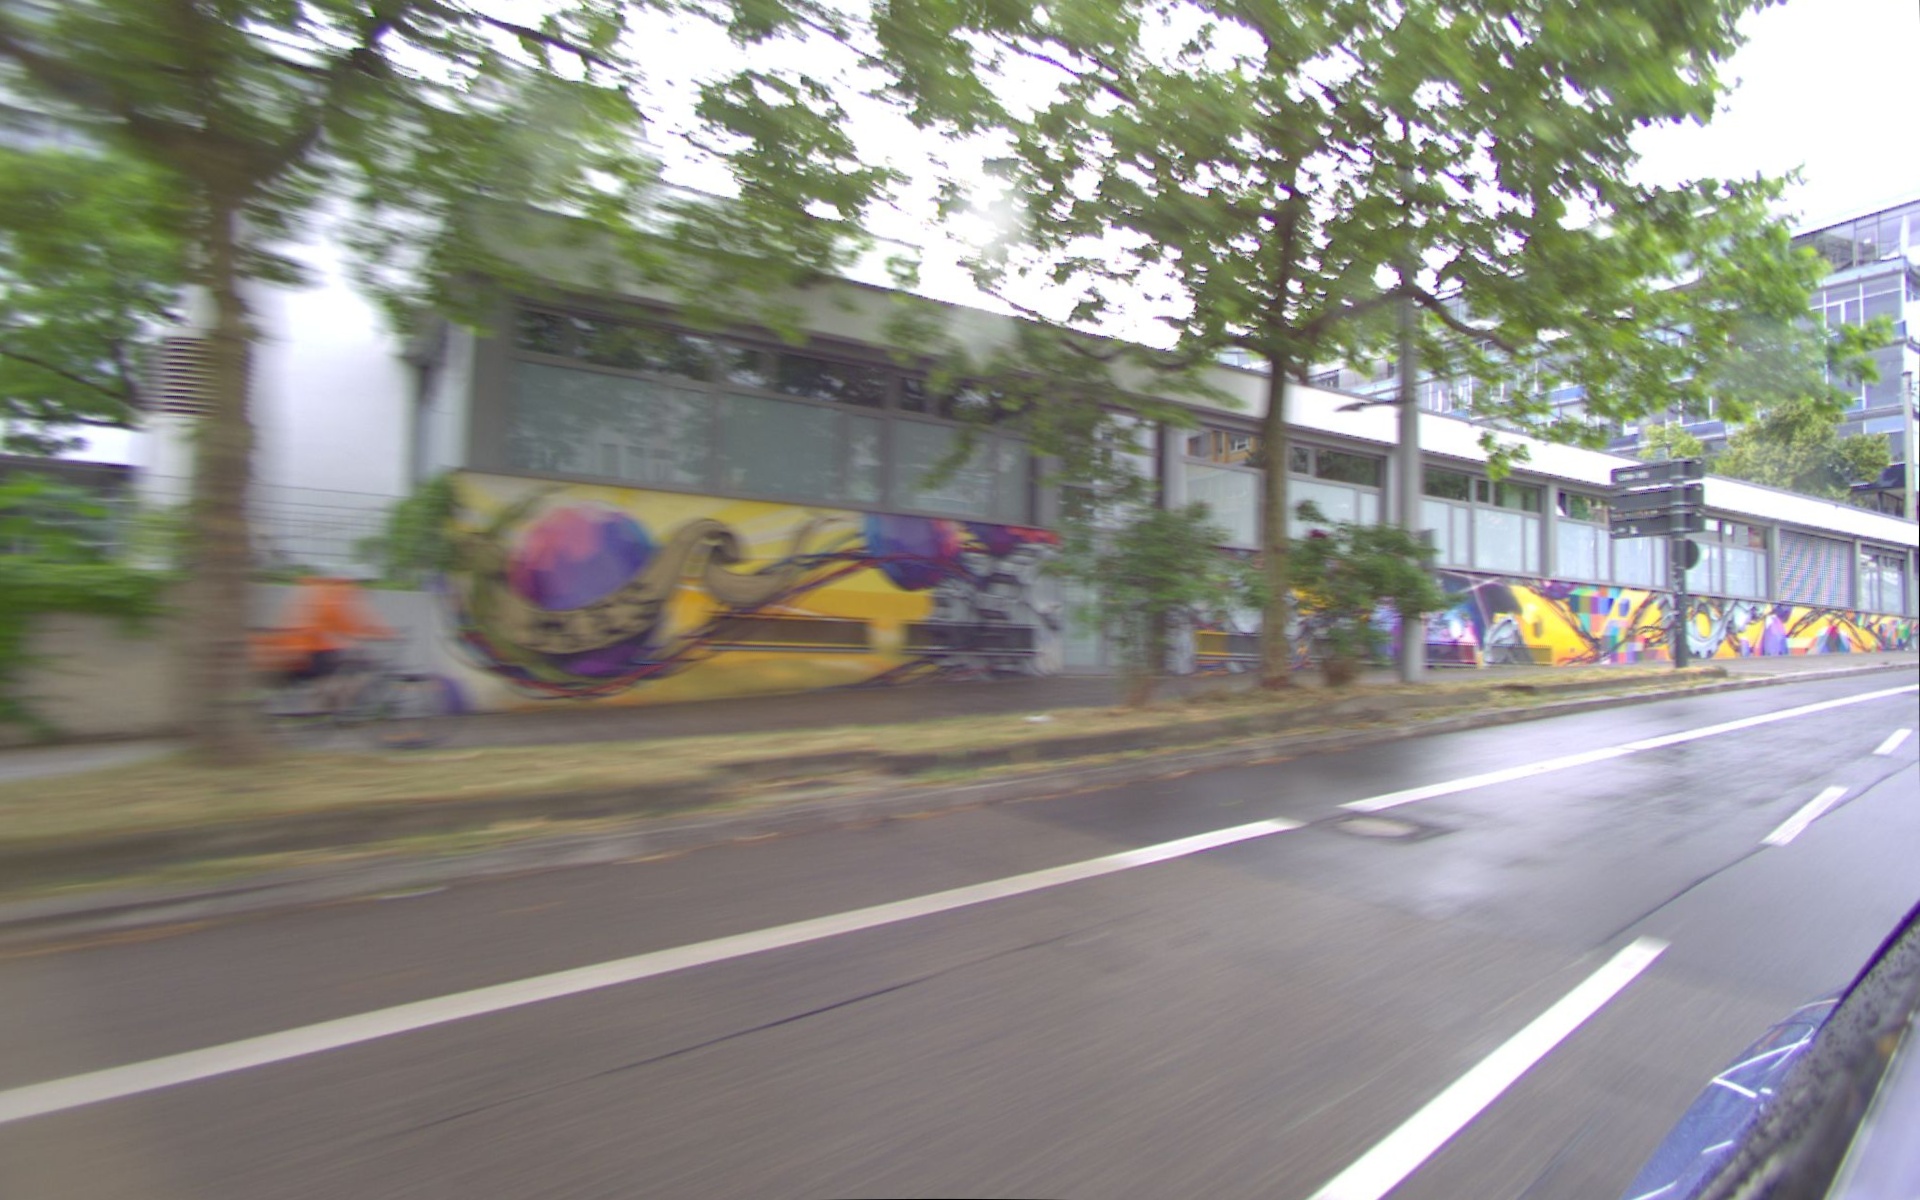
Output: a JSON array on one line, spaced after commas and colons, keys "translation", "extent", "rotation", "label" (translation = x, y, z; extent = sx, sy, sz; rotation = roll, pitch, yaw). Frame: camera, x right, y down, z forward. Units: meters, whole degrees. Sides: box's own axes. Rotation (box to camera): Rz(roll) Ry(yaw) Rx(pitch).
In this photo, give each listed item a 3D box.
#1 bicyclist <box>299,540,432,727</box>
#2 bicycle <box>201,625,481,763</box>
[{"translation": [-5.635, 0.301, 9.592], "extent": [1.026, 1.649, 0.809], "rotation": [0, -1, -35], "label": "bicyclist"}, {"translation": [-5.748, 0.815, 9.501], "extent": [2.156, 1.126, 0.809], "rotation": [0, -1, -35], "label": "bicycle"}]
